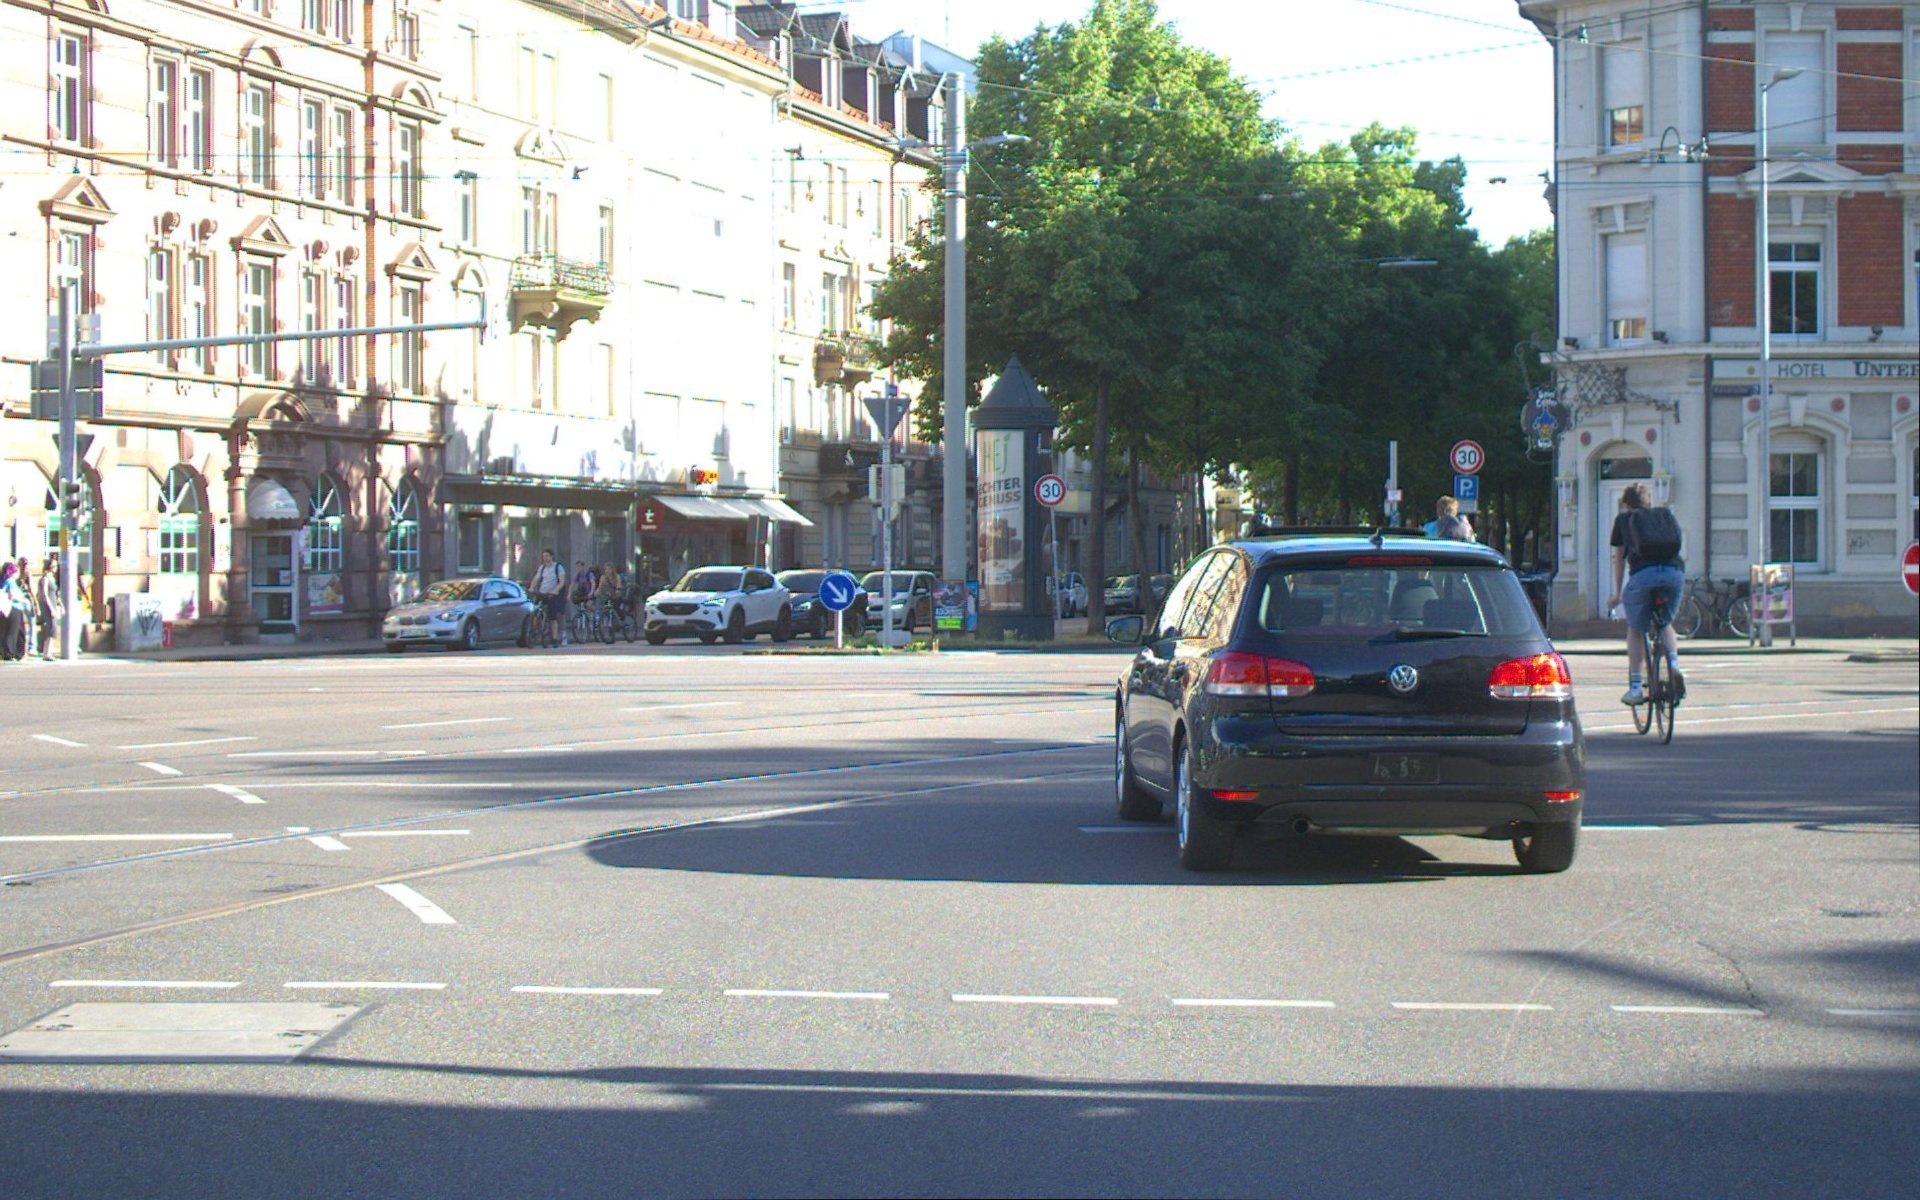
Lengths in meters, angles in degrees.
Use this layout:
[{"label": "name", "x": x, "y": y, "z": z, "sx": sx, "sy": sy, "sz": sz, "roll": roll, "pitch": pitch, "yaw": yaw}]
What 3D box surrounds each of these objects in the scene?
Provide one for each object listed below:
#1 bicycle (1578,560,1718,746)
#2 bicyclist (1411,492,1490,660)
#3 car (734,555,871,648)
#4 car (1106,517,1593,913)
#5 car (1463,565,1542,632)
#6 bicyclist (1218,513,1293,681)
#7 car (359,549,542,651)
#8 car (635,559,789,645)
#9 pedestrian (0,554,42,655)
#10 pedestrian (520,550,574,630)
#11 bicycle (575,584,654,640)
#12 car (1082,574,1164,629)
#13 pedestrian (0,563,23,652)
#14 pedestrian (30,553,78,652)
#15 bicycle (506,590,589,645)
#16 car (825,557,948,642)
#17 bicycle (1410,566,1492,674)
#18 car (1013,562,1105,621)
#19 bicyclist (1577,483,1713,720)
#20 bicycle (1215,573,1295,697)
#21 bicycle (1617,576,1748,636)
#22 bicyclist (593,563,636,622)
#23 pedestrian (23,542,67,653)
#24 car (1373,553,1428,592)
[{"label": "bicycle", "x": 4.751, "y": 0.343, "z": 23.836, "sx": 0.755, "sy": 1.232, "sz": 1.702, "roll": 1, "pitch": 1, "yaw": 5}, {"label": "bicyclist", "x": 4.850, "y": -0.239, "z": 33.969, "sx": 0.690, "sy": 1.627, "sz": 0.883, "roll": 1, "pitch": 0, "yaw": 12}, {"label": "car", "x": -3.343, "y": 0.013, "z": 73.702, "sx": 1.994, "sy": 1.897, "sz": 3.998, "roll": 1, "pitch": 1, "yaw": 11}, {"label": "car", "x": 1.663, "y": 0.417, "z": 15.939, "sx": 1.728, "sy": 1.502, "sz": 4.051, "roll": 1, "pitch": 2, "yaw": -1}, {"label": "car", "x": 13.059, "y": -0.052, "z": 82.617, "sx": 1.692, "sy": 1.559, "sz": 3.839, "roll": 1, "pitch": 1, "yaw": 11}, {"label": "bicyclist", "x": 2.687, "y": -0.036, "z": 31.309, "sx": 0.639, "sy": 1.489, "sz": 0.883, "roll": 1, "pitch": 2, "yaw": 4}, {"label": "car", "x": -9.914, "y": -0.013, "z": 67.165, "sx": 1.995, "sy": 1.897, "sz": 3.997, "roll": 1, "pitch": 1, "yaw": 17}, {"label": "car", "x": -4.813, "y": 0.024, "z": 67.307, "sx": 1.994, "sy": 1.612, "sz": 3.998, "roll": 1, "pitch": 1, "yaw": 11}, {"label": "pedestrian", "x": -15.338, "y": 0.073, "z": 55.926, "sx": 0.633, "sy": 1.628, "sz": 0.701, "roll": 1, "pitch": 0, "yaw": -4}, {"label": "pedestrian", "x": -7.835, "y": -0.196, "z": 65.230, "sx": 0.821, "sy": 1.507, "sz": 0.598, "roll": 1, "pitch": 0, "yaw": 15}, {"label": "bicycle", "x": -7.064, "y": 0.241, "z": 70.422, "sx": 0.651, "sy": 1.119, "sz": 2.250, "roll": 1, "pitch": 1, "yaw": 21}, {"label": "car", "x": 5.837, "y": 0.042, "z": 122.585, "sx": 1.995, "sy": 1.897, "sz": 3.997, "roll": 1, "pitch": 1, "yaw": 17}, {"label": "pedestrian", "x": -16.058, "y": 0.120, "z": 57.504, "sx": 0.633, "sy": 1.471, "sz": 0.465, "roll": 1, "pitch": 0, "yaw": -4}, {"label": "pedestrian", "x": -15.099, "y": 0.037, "z": 57.281, "sx": 0.633, "sy": 1.628, "sz": 0.701, "roll": 1, "pitch": 0, "yaw": -4}, {"label": "bicycle", "x": -7.822, "y": 0.331, "z": 65.309, "sx": 0.763, "sy": 1.004, "sz": 2.395, "roll": 1, "pitch": 1, "yaw": 13}, {"label": "car", "x": -1.667, "y": -0.024, "z": 79.655, "sx": 1.994, "sy": 1.897, "sz": 3.998, "roll": 1, "pitch": 1, "yaw": 11}, {"label": "bicycle", "x": 4.872, "y": 0.187, "z": 34.044, "sx": 0.650, "sy": 1.028, "sz": 1.770, "roll": 1, "pitch": 1, "yaw": 12}, {"label": "car", "x": 3.267, "y": -0.289, "z": 112.727, "sx": 1.995, "sy": 1.897, "sz": 3.997, "roll": 1, "pitch": 1, "yaw": 17}, {"label": "bicyclist", "x": 4.750, "y": 0.006, "z": 23.884, "sx": 0.806, "sy": 1.601, "sz": 0.883, "roll": 1, "pitch": 0, "yaw": 5}, {"label": "bicycle", "x": 2.666, "y": 0.300, "z": 31.140, "sx": 0.626, "sy": 1.081, "sz": 1.703, "roll": 1, "pitch": 1, "yaw": 2}, {"label": "bicycle", "x": 12.007, "y": 0.095, "z": 57.150, "sx": 2.049, "sy": 0.994, "sz": 0.630, "roll": 0, "pitch": 0, "yaw": 3}, {"label": "bicyclist", "x": -7.071, "y": -0.159, "z": 70.361, "sx": 0.632, "sy": 1.181, "sz": 0.684, "roll": 1, "pitch": 0, "yaw": 21}, {"label": "pedestrian", "x": -15.617, "y": -0.041, "z": 58.705, "sx": 0.633, "sy": 1.875, "sz": 0.465, "roll": 1, "pitch": 0, "yaw": -4}, {"label": "car", "x": 17.294, "y": -1.081, "z": 134.834, "sx": 1.560, "sy": 1.508, "sz": 3.653, "roll": 1, "pitch": 1, "yaw": 17}]
